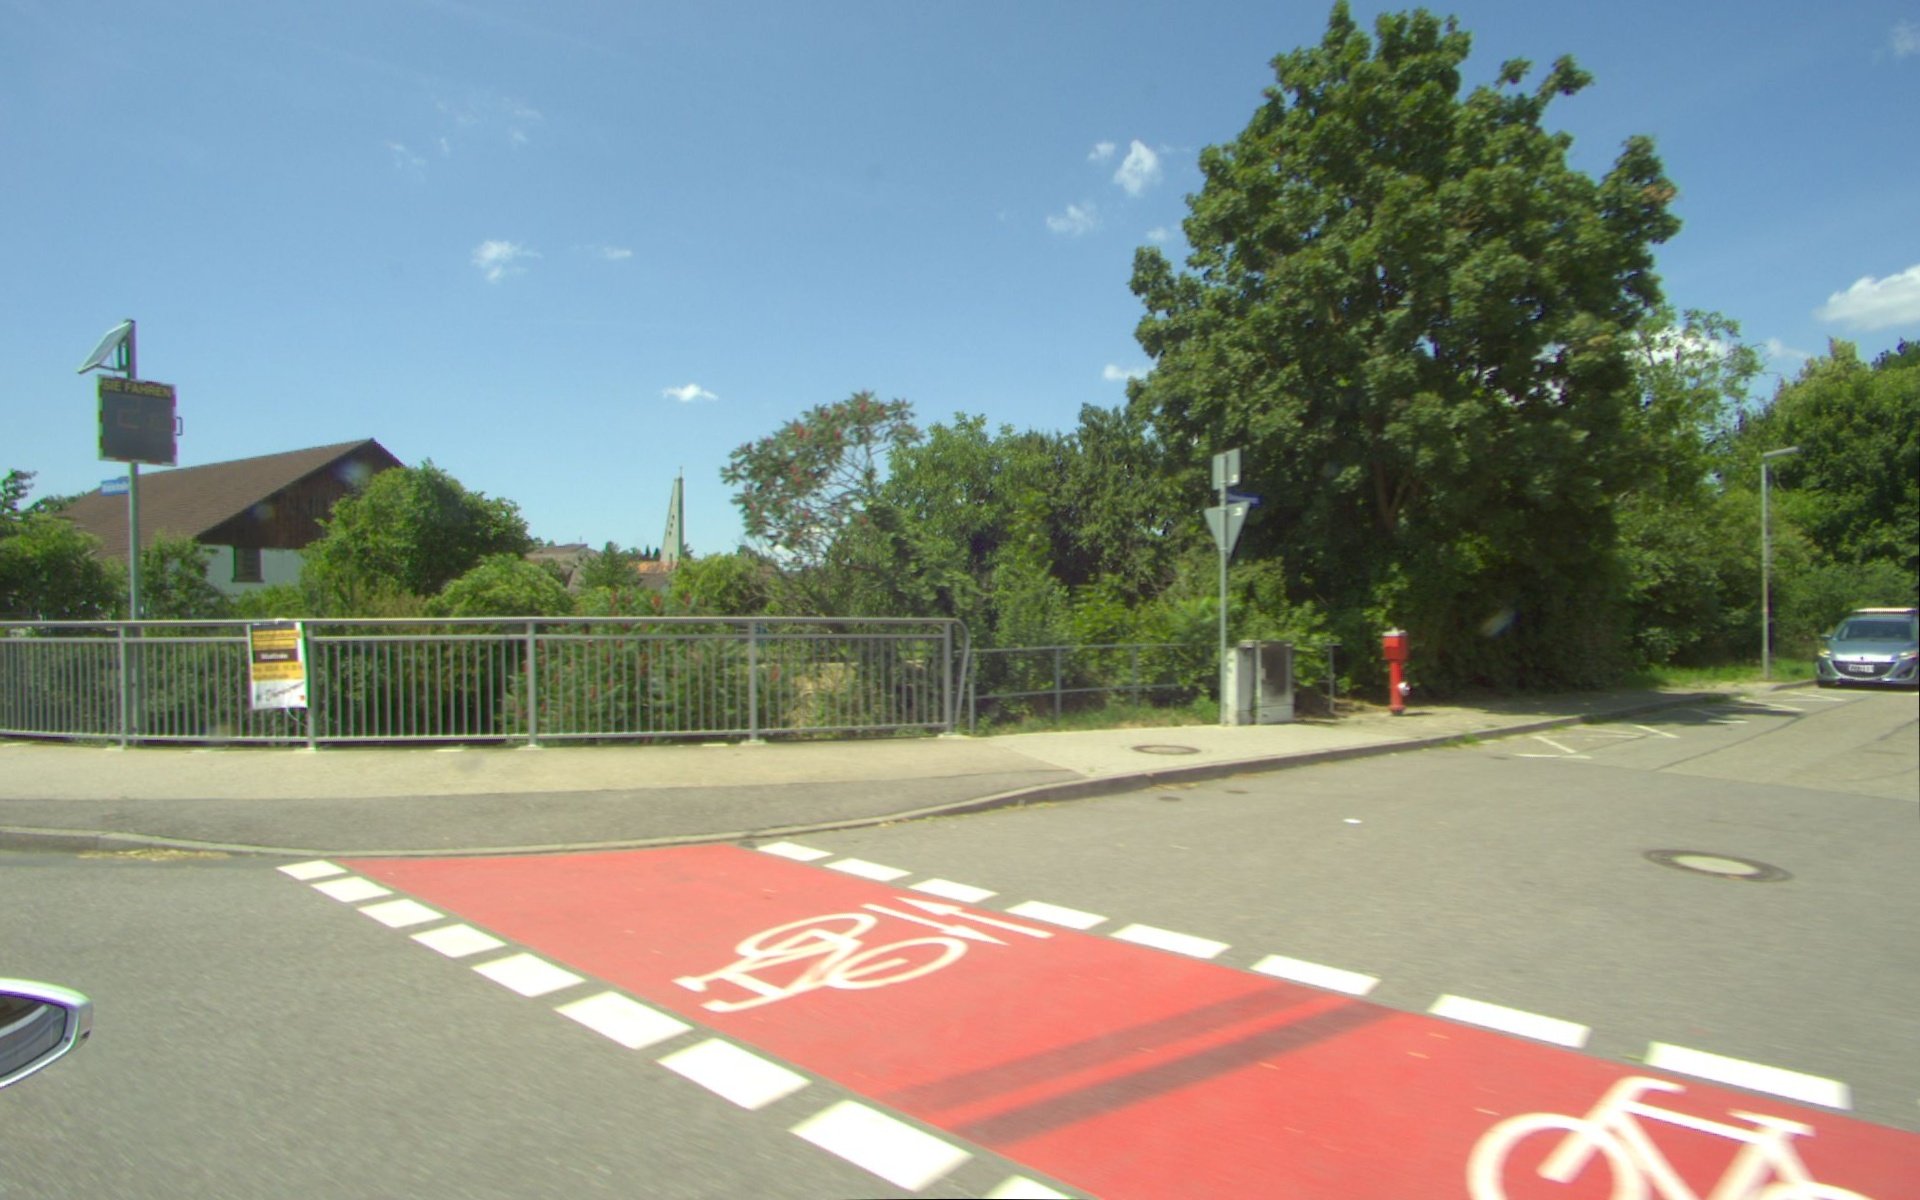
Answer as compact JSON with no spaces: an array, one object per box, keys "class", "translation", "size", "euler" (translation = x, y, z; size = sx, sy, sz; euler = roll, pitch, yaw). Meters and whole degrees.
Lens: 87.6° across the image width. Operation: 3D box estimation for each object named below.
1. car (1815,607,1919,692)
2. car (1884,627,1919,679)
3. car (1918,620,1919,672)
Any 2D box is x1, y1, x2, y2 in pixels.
[{"class":"car","translation":[20.480,1.054,22.278],"size":[4.218,1.719,1.808],"euler":[1,-2,-44]},{"class":"car","translation":[25.249,1.332,25.802],"size":[3.960,1.286,1.808],"euler":[1,-2,-43]},{"class":"car","translation":[29.733,1.334,29.613],"size":[3.960,1.484,1.808],"euler":[1,-2,-43]}]
